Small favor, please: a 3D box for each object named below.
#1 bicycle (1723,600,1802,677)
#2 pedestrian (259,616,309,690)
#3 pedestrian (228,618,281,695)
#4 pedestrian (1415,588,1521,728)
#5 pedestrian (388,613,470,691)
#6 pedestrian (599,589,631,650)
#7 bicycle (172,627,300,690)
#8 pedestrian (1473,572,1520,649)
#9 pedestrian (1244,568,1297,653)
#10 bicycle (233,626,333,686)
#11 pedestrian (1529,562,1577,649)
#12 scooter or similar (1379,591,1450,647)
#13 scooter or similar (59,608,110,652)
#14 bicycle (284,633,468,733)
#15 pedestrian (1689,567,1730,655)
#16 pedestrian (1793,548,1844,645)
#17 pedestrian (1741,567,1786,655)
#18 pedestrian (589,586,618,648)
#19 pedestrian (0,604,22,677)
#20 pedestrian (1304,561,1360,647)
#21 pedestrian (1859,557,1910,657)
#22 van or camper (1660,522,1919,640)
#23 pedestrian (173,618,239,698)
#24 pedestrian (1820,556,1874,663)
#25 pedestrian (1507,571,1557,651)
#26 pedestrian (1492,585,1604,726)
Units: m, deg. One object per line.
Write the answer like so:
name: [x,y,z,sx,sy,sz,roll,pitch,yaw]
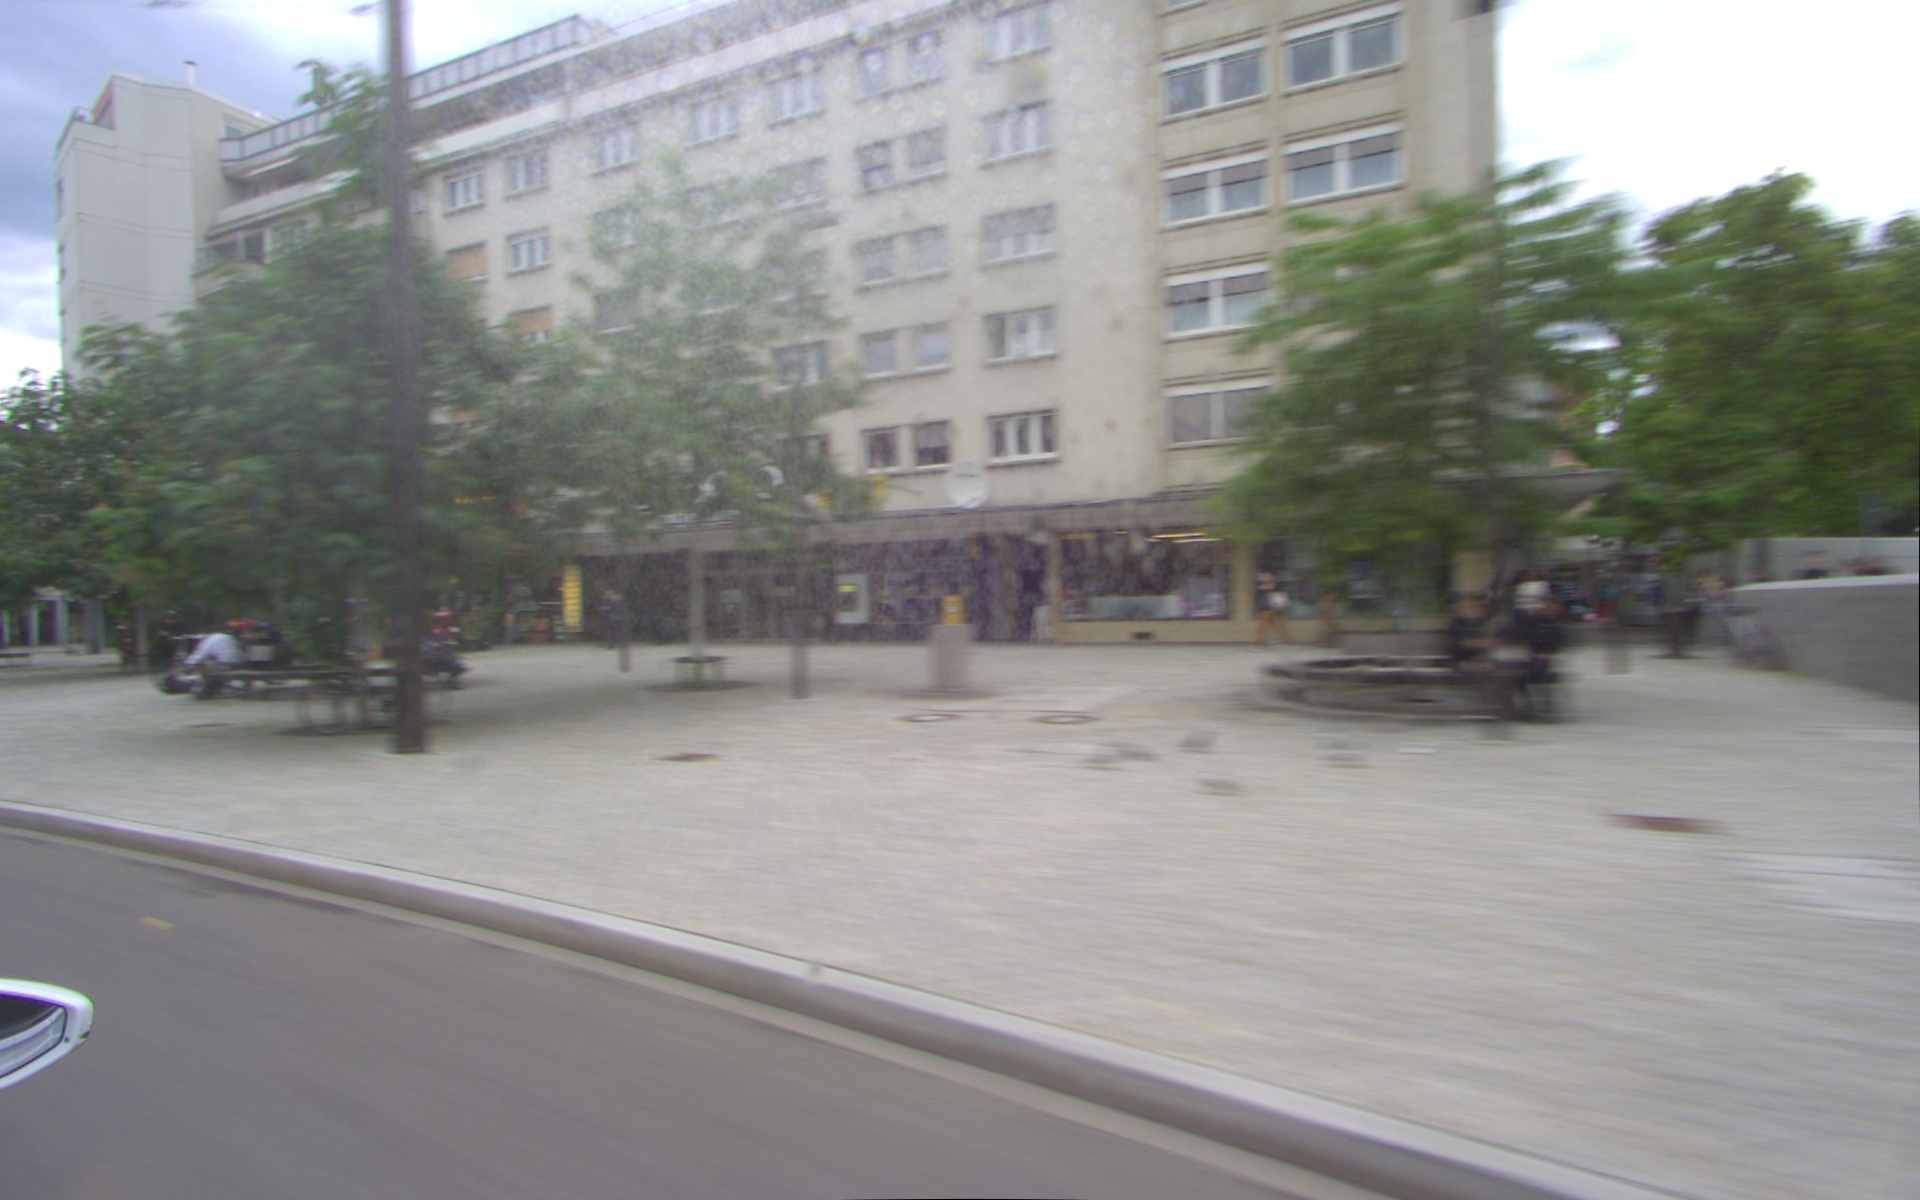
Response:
bicycle: [12.506,0.565,15.658,0.462,1.078,2.023,-1,1,24]
pedestrian: [-13.070,1.003,19.363,1.267,1.384,0.540,-1,-1,43]
pedestrian: [-12.980,1.021,18.411,0.909,1.384,0.624,-1,-1,43]
pedestrian: [5.666,0.618,11.195,0.753,1.475,0.779,-2,2,-4]
pedestrian: [-9.716,0.937,18.318,1.386,1.384,0.628,-1,-1,25]
pedestrian: [-10.227,0.561,29.697,0.764,1.775,0.714,-3,3,-26]
bicycle: [-14.607,1.157,20.253,0.472,1.126,2.024,0,1,41]
pedestrian: [11.398,0.214,21.269,0.631,1.607,0.591,0,1,-7]
pedestrian: [6.741,0.226,21.780,1.047,1.797,0.772,0,2,15]
bicycle: [-13.799,1.118,20.451,0.472,1.126,1.592,0,1,40]
pedestrian: [12.406,0.108,20.947,0.583,1.792,0.640,-1,2,-28]
scooter or similar: [10.462,0.429,23.074,0.496,1.220,1.424,-3,2,-40]
scooter or similar: [-36.987,1.248,42.290,2.243,1.831,1.081,-1,1,34]
bicycle: [-7.276,0.993,12.570,0.637,1.137,1.908,-1,-1,36]
pedestrian: [14.817,0.205,19.795,0.585,1.693,0.638,1,2,41]
pedestrian: [15.265,-0.061,17.811,0.509,1.693,0.586,-1,2,-41]
pedestrian: [15.732,0.205,19.598,0.637,1.693,0.586,-1,2,-44]
pedestrian: [-11.024,0.530,30.956,0.764,1.909,0.849,0,-1,-26]
pedestrian: [-25.015,1.055,25.843,1.060,1.827,0.713,-1,3,25]
pedestrian: [8.470,0.086,22.853,1.046,1.927,0.772,-1,2,8]
pedestrian: [16.026,0.109,17.360,0.509,1.693,0.586,-1,2,-44]
van or camper: [21.578,-0.399,24.973,6.455,2.754,1.994,-1,-1,26]
pedestrian: [-13.223,1.013,17.580,0.674,1.384,0.630,0,-1,7]
pedestrian: [14.390,0.154,16.244,0.509,1.693,0.586,-1,2,-44]
pedestrian: [11.671,0.211,20.451,0.631,1.607,0.591,0,1,-7]
pedestrian: [6.481,0.586,11.068,0.753,1.475,0.779,-2,2,-4]
